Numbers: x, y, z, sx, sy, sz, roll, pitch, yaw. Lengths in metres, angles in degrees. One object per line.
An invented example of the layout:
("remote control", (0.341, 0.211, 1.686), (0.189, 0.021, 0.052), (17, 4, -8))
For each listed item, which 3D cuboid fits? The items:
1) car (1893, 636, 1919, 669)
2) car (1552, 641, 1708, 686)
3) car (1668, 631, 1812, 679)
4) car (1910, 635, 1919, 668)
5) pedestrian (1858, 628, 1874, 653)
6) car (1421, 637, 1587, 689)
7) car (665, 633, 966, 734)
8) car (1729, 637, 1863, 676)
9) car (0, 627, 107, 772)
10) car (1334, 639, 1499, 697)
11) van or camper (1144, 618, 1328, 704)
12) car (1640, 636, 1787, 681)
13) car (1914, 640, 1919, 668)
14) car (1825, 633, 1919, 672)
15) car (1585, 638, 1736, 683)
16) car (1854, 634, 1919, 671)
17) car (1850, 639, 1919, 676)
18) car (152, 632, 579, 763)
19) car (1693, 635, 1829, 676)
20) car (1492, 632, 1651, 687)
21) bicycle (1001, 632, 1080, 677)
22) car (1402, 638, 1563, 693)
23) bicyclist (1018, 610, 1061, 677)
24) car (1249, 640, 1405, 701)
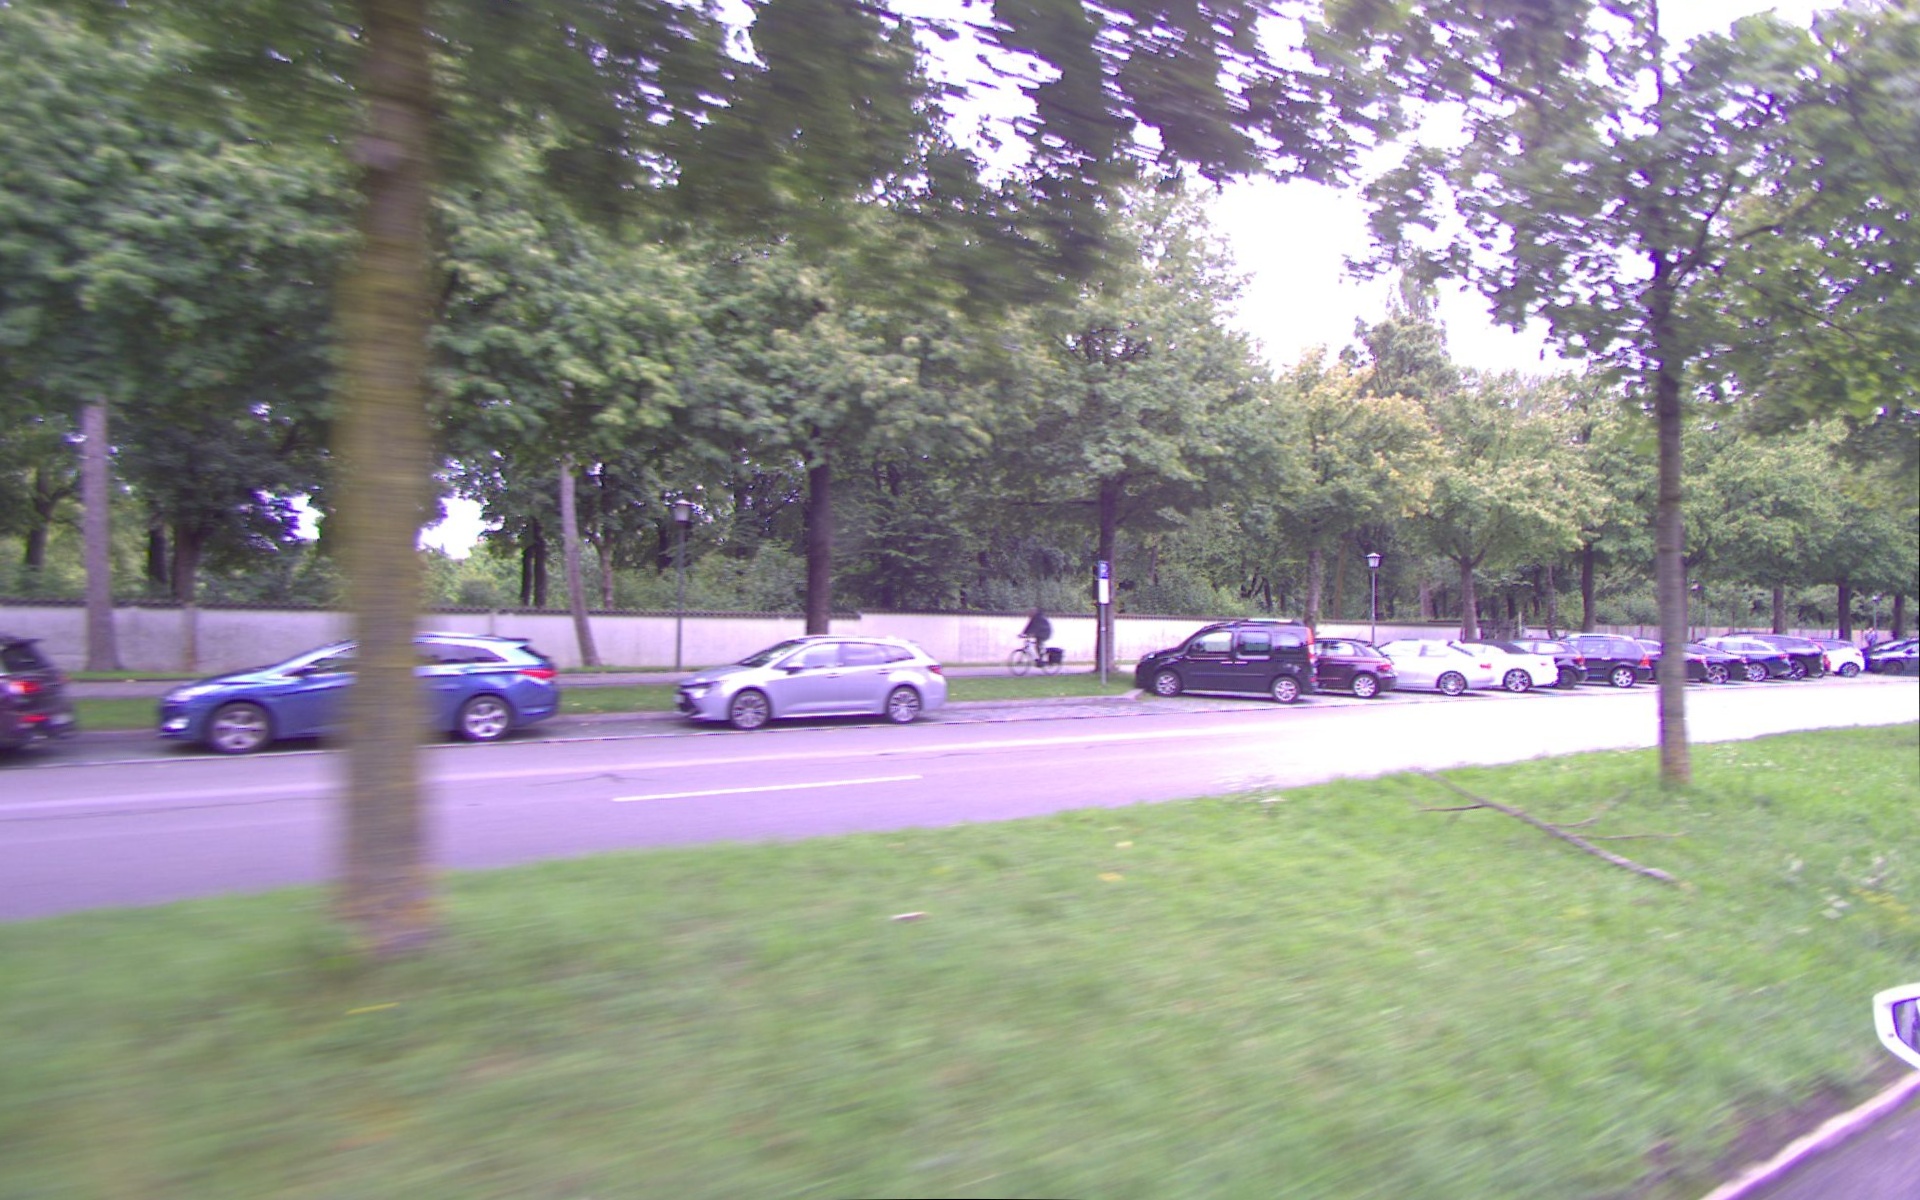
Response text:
("car", (49.078, 2.622, 49.562), (4.032, 1.606, 1.917), (0, -2, 27))
("car", (22.307, 2.077, 33.643), (4.125, 1.340, 1.917), (0, -2, 27))
("car", (29.662, 2.056, 38.355), (4.032, 1.702, 1.917), (0, -2, 27))
("car", (51.544, 2.660, 51.276), (4.032, 1.674, 1.917), (0, -2, 27))
("pedestrian", (60.549, 2.710, 67.123), (0.668, 1.633, 0.691), (0, -1, 29))
("car", (16.422, 1.882, 30.570), (4.157, 1.441, 1.920), (0, -1, 19))
("car", (-2.361, 1.325, 16.912), (4.750, 1.458, 1.629), (1, 0, -29))
("car", (34.924, 2.332, 42.113), (4.035, 1.521, 1.916), (0, -2, 30))
("car", (-12.202, 1.069, 10.857), (4.247, 1.523, 1.565), (1, 0, -26))
("car", (12.215, 1.780, 26.998), (3.925, 1.372, 1.849), (0, -1, 26))
("van or camper", (6.527, 1.382, 23.760), (4.044, 1.879, 1.850), (0, -1, 20))
("car", (27.500, 2.112, 36.841), (4.032, 1.489, 1.917), (0, -2, 27))
("car", (53.461, 2.920, 53.053), (4.032, 1.493, 1.917), (0, -2, 27))
("car", (42.902, 2.431, 46.454), (4.032, 1.717, 1.917), (0, -2, 27))
("car", (24.512, 2.080, 35.330), (4.121, 1.428, 1.917), (0, -2, 27))
("car", (45.779, 2.493, 48.106), (4.032, 1.717, 1.917), (0, -2, 27))
("car", (41.928, 2.503, 43.887), (4.107, 1.563, 1.919), (0, -1, 23))
("car", (-7.848, 1.209, 13.702), (4.745, 1.478, 1.578), (1, 0, -32))
("car", (32.247, 2.190, 40.612), (4.035, 1.521, 1.916), (0, -2, 30))
("car", (19.276, 1.841, 31.876), (4.028, 1.618, 1.919), (0, -1, 21))
("bicycle", (2.188, 1.455, 27.121), (2.091, 1.177, 0.710), (1, -1, -30))
("car", (14.834, 1.835, 28.720), (3.967, 1.400, 1.674), (0, -1, 25))
("bicyclist", (2.144, 1.164, 27.095), (0.912, 1.770, 0.702), (1, -1, -30))
("car", (9.327, 1.748, 25.547), (3.553, 1.372, 1.752), (0, -1, 27))
